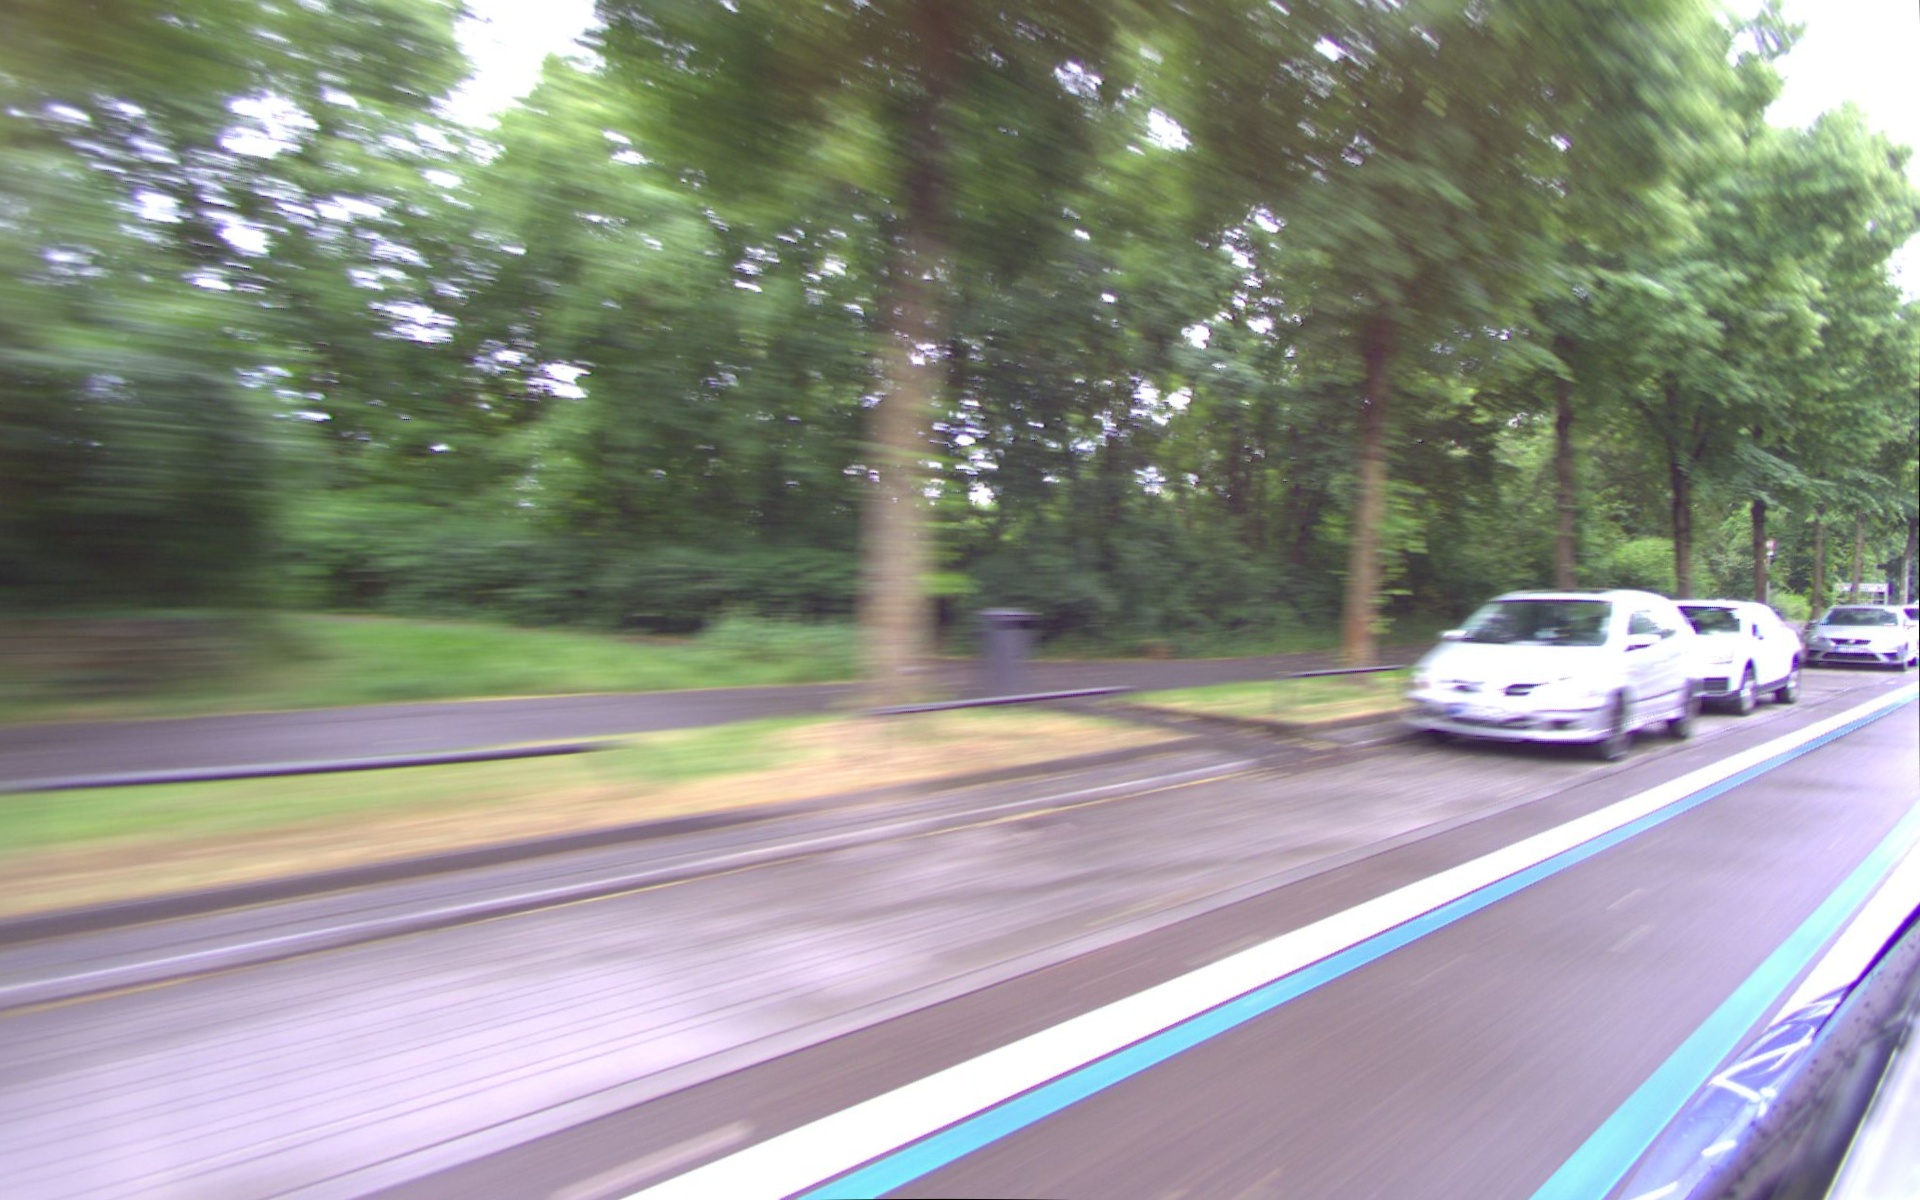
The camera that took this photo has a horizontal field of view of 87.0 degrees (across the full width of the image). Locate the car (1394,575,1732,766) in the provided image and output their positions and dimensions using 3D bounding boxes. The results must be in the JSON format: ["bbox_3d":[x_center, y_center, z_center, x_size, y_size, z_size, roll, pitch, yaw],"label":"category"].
[{"bbox_3d":[6.574,0.589,10.786,4.657,1.617,1.756,0,0,-41],"label":"car"}]

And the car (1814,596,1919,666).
[{"bbox_3d":[21.044,0.642,23.211,4.027,1.472,1.700,0,0,-42],"label":"car"}]

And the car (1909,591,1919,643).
[{"bbox_3d":[33.471,0.564,33.929,4.483,1.683,1.997,0,1,-41],"label":"car"}]

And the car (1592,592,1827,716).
[{"bbox_3d":[10.887,0.666,14.582,4.389,1.532,1.701,0,0,-39],"label":"car"}]

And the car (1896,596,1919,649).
[{"bbox_3d":[28.676,0.627,29.450,3.877,1.472,1.700,0,0,-41],"label":"car"}]
